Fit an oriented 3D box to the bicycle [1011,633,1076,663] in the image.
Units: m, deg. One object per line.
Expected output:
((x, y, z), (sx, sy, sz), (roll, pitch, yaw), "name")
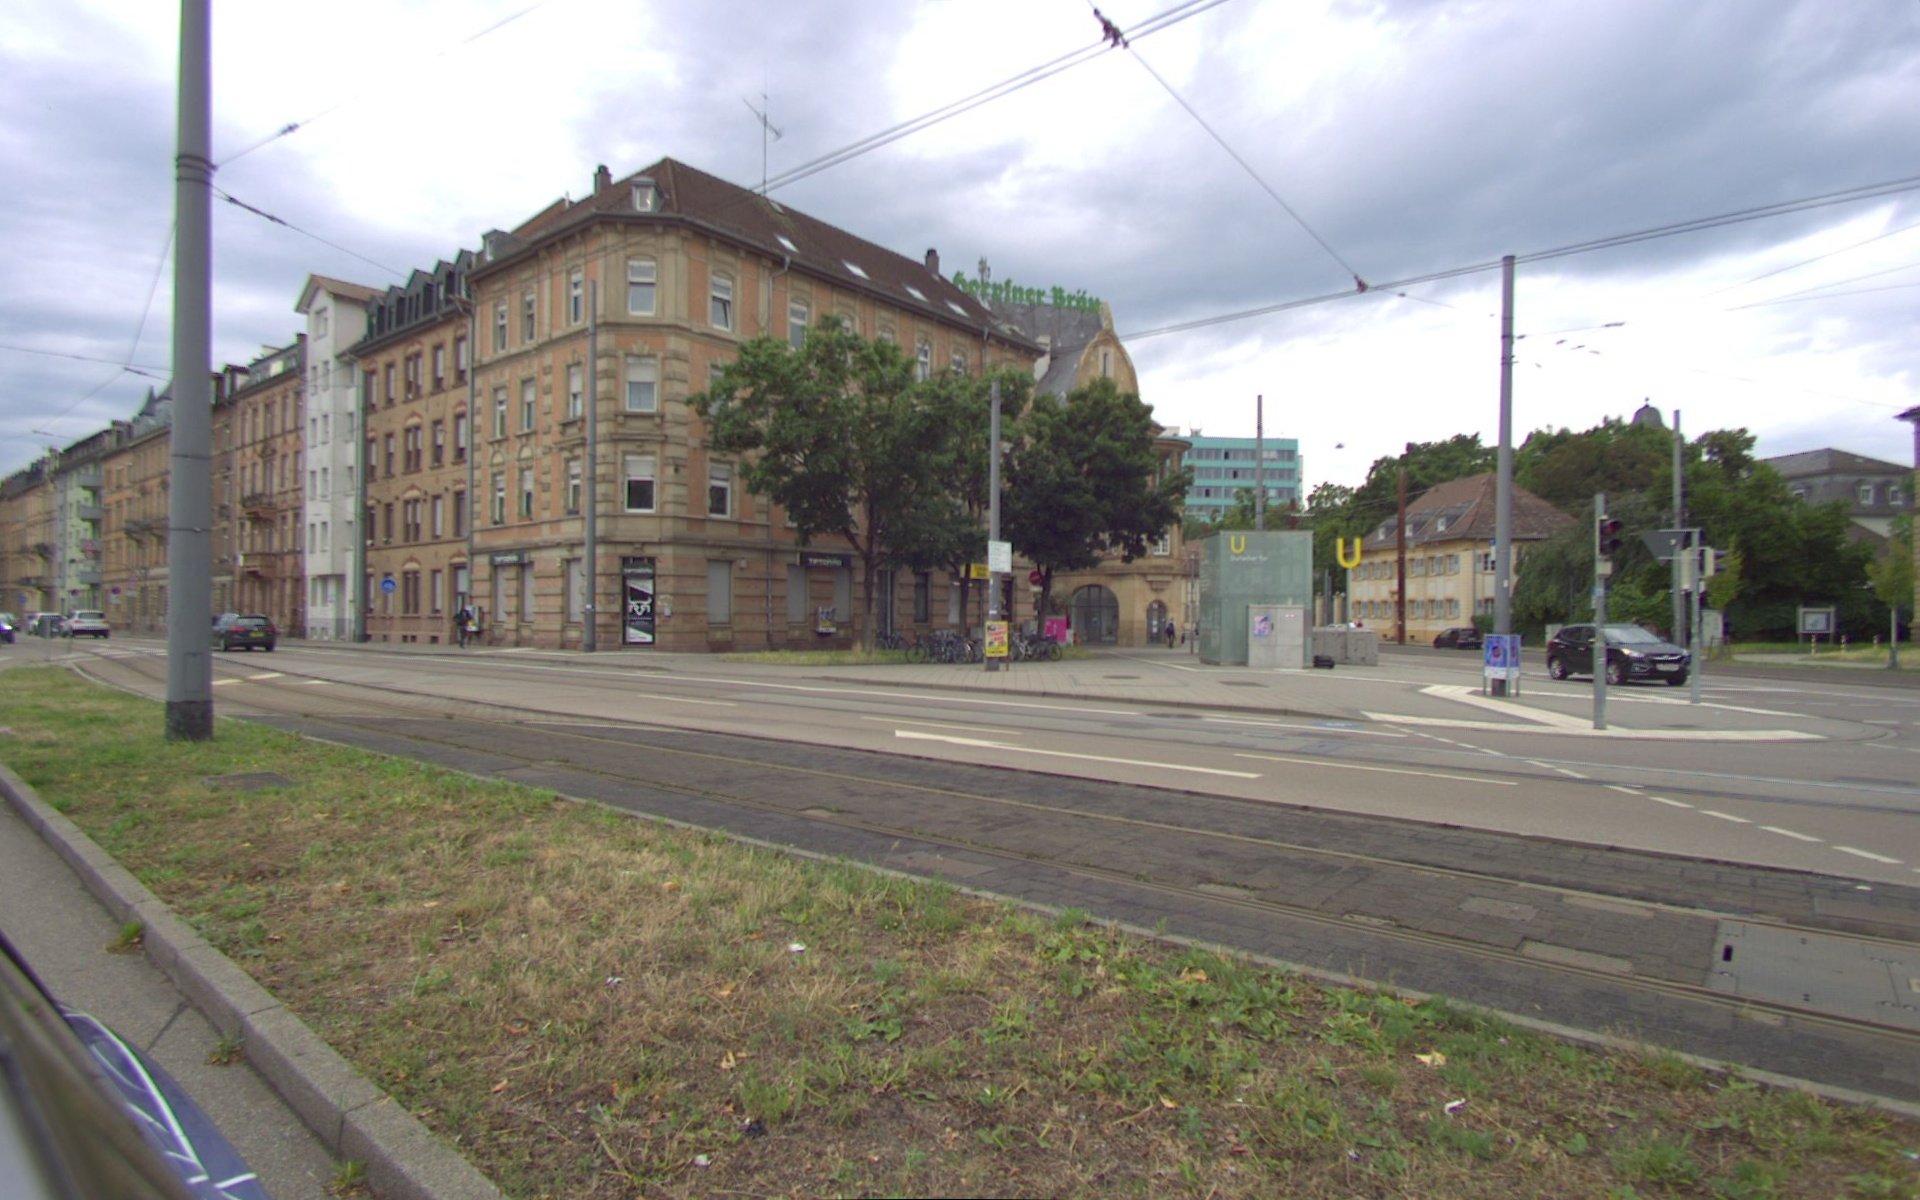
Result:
((3.012, 1.737, 36.844), (2.395, 1.038, 0.744), (-1, -1, 40), "bicycle")

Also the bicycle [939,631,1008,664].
((0.449, 1.585, 33.870), (2.395, 1.038, 0.744), (-1, -1, 40), "bicycle")

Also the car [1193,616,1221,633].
((27.478, 2.685, 112.677), (1.971, 1.863, 4.002), (0, -1, -2), "car")

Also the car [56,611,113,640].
((-52.246, 1.488, 60.396), (4.225, 1.658, 1.812), (-1, -1, 39), "car")

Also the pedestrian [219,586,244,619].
((-41.319, 0.143, 57.384), (0.712, 1.846, 0.918), (0, -1, 5), "pedestrian")

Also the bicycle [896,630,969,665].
((-0.894, 1.511, 32.392), (2.395, 1.038, 0.826), (-1, -1, 40), "bicycle")

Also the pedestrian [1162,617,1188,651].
((12.219, 1.905, 57.567), (1.083, 1.911, 1.139), (-1, -1, 34), "pedestrian")

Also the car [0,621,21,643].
((-75.076, 2.491, 79.041), (4.228, 1.715, 1.873), (-1, -1, 39), "car")

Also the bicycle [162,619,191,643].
((-43.832, 1.714, 56.600), (2.409, 1.302, 0.788), (-1, -1, 41), "bicycle")

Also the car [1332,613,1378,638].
((31.824, 2.033, 81.677), (1.971, 1.862, 4.002), (2, 0, -2), "car")

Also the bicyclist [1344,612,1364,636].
((29.074, 1.767, 74.683), (1.077, 1.796, 1.017), (0, -1, -3), "bicyclist")

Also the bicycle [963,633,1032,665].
((1.263, 1.665, 34.600), (2.395, 1.038, 0.744), (-1, -1, 40), "bicycle")

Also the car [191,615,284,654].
((-28.771, 1.332, 40.244), (4.459, 1.481, 1.865), (-1, -1, 39), "car")

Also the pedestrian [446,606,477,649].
((-19.935, 1.101, 40.460), (0.797, 1.688, 0.802), (-1, -1, 37), "pedestrian")

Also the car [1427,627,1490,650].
((31.938, 2.455, 64.977), (1.971, 1.442, 4.002), (0, -1, -2), "car")

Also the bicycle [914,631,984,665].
((-0.379, 1.551, 33.001), (2.395, 1.038, 0.744), (-1, -1, 40), "bicycle")

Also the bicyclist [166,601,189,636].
((-43.676, 1.030, 56.485), (0.923, 1.881, 0.813), (-1, -1, 40), "bicyclist")

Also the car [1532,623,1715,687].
((18.310, 1.460, 28.207), (1.969, 1.623, 4.251), (0, -1, -6), "car")

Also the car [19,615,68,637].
((-61.709, 1.759, 68.140), (4.013, 1.442, 1.792), (-1, -1, 39), "car")

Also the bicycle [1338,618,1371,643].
((29.069, 2.220, 74.676), (1.070, 1.763, 3.087), (0, -1, -2), "bicycle")

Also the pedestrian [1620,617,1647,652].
((35.443, 1.823, 53.277), (0.797, 1.846, 0.852), (0, -1, -12), "pedestrian")

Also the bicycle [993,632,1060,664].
((2.338, 1.677, 35.793), (2.395, 1.038, 0.744), (-1, -1, 40), "bicycle")
